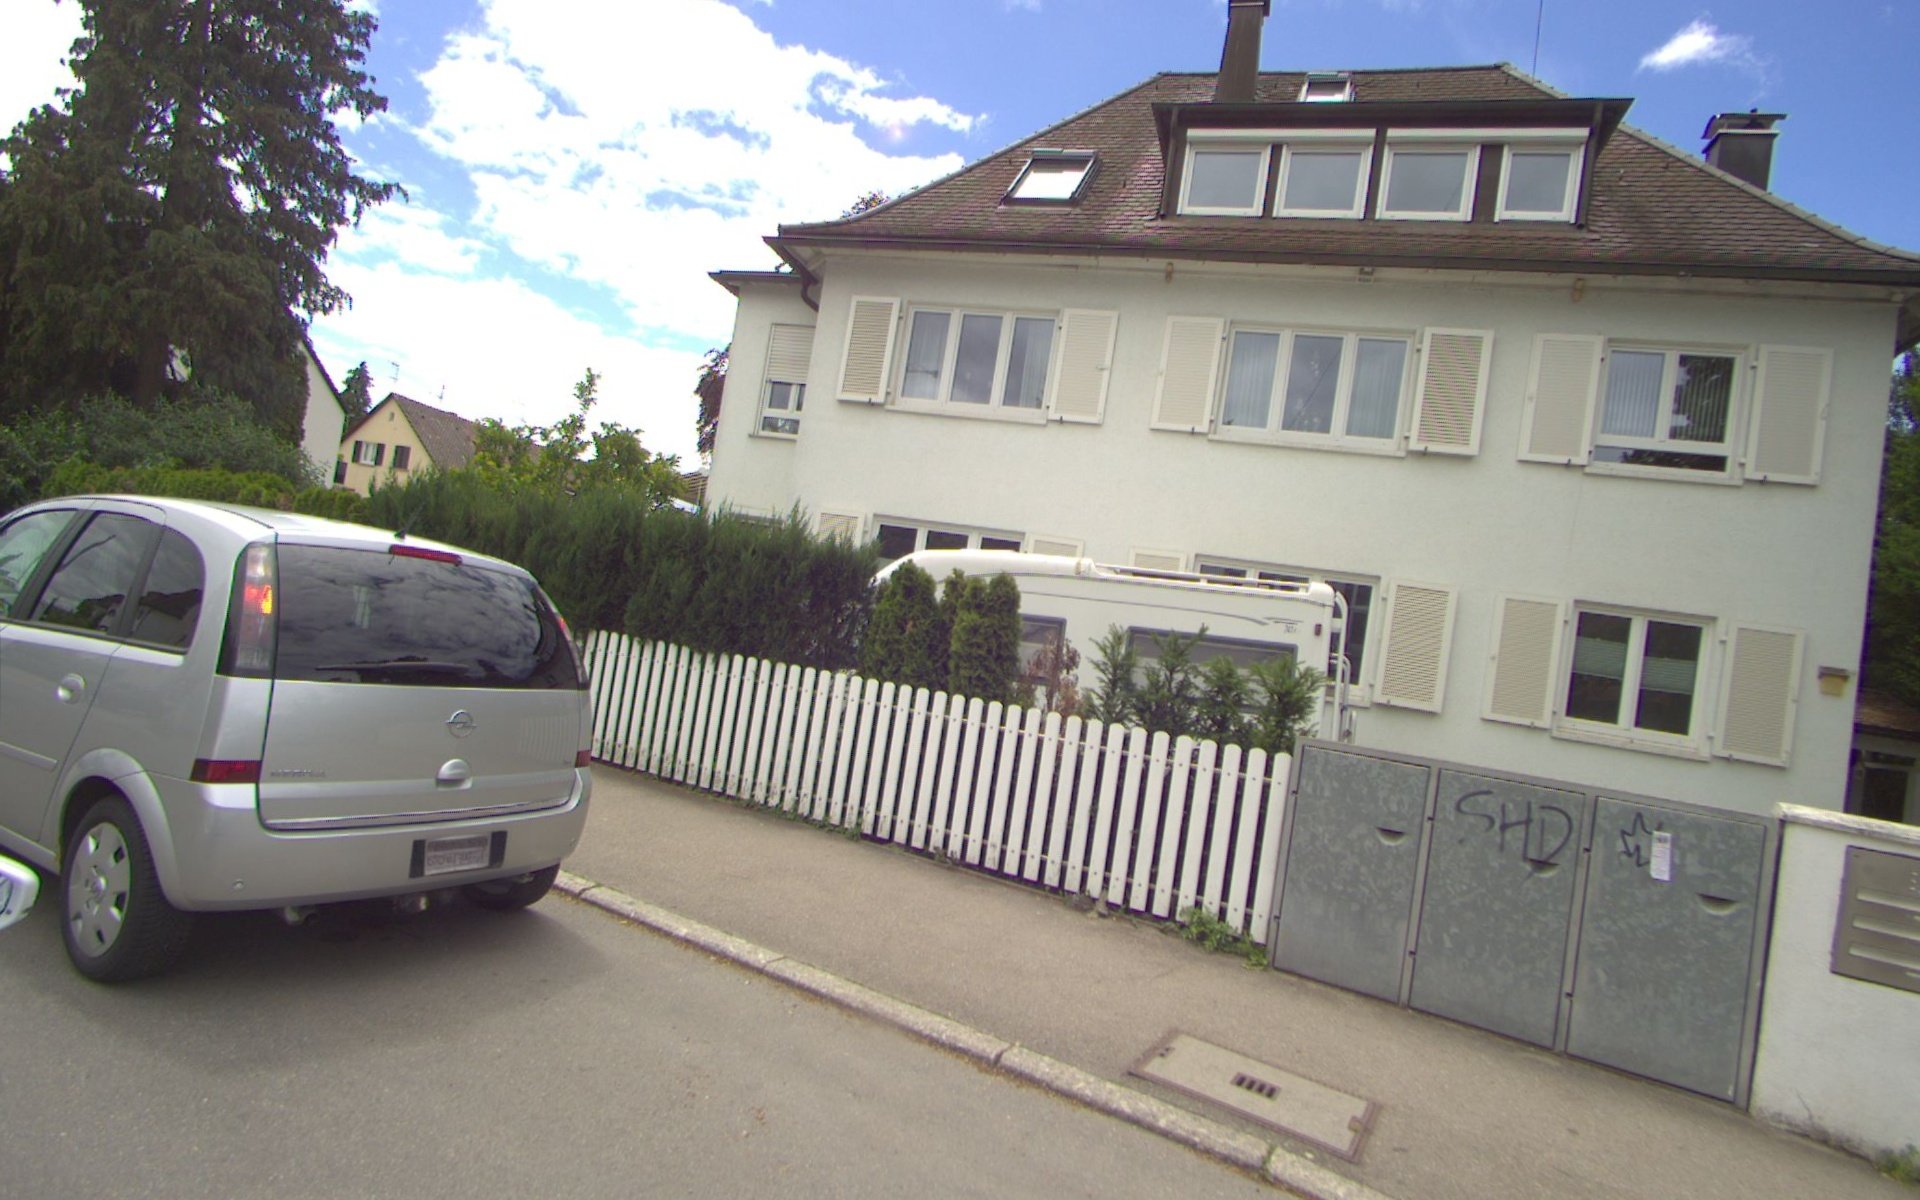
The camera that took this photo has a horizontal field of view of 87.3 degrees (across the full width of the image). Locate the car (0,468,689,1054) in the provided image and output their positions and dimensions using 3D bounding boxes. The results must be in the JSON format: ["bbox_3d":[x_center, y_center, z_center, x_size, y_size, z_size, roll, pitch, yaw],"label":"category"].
[{"bbox_3d":[-3.416,0.371,4.590,3.949,1.600,1.764,7,-2,29],"label":"car"}]

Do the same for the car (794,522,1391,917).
[{"bbox_3d":[1.362,1.055,10.207,5.090,2.708,2.511,8,-5,21],"label":"car"}]
